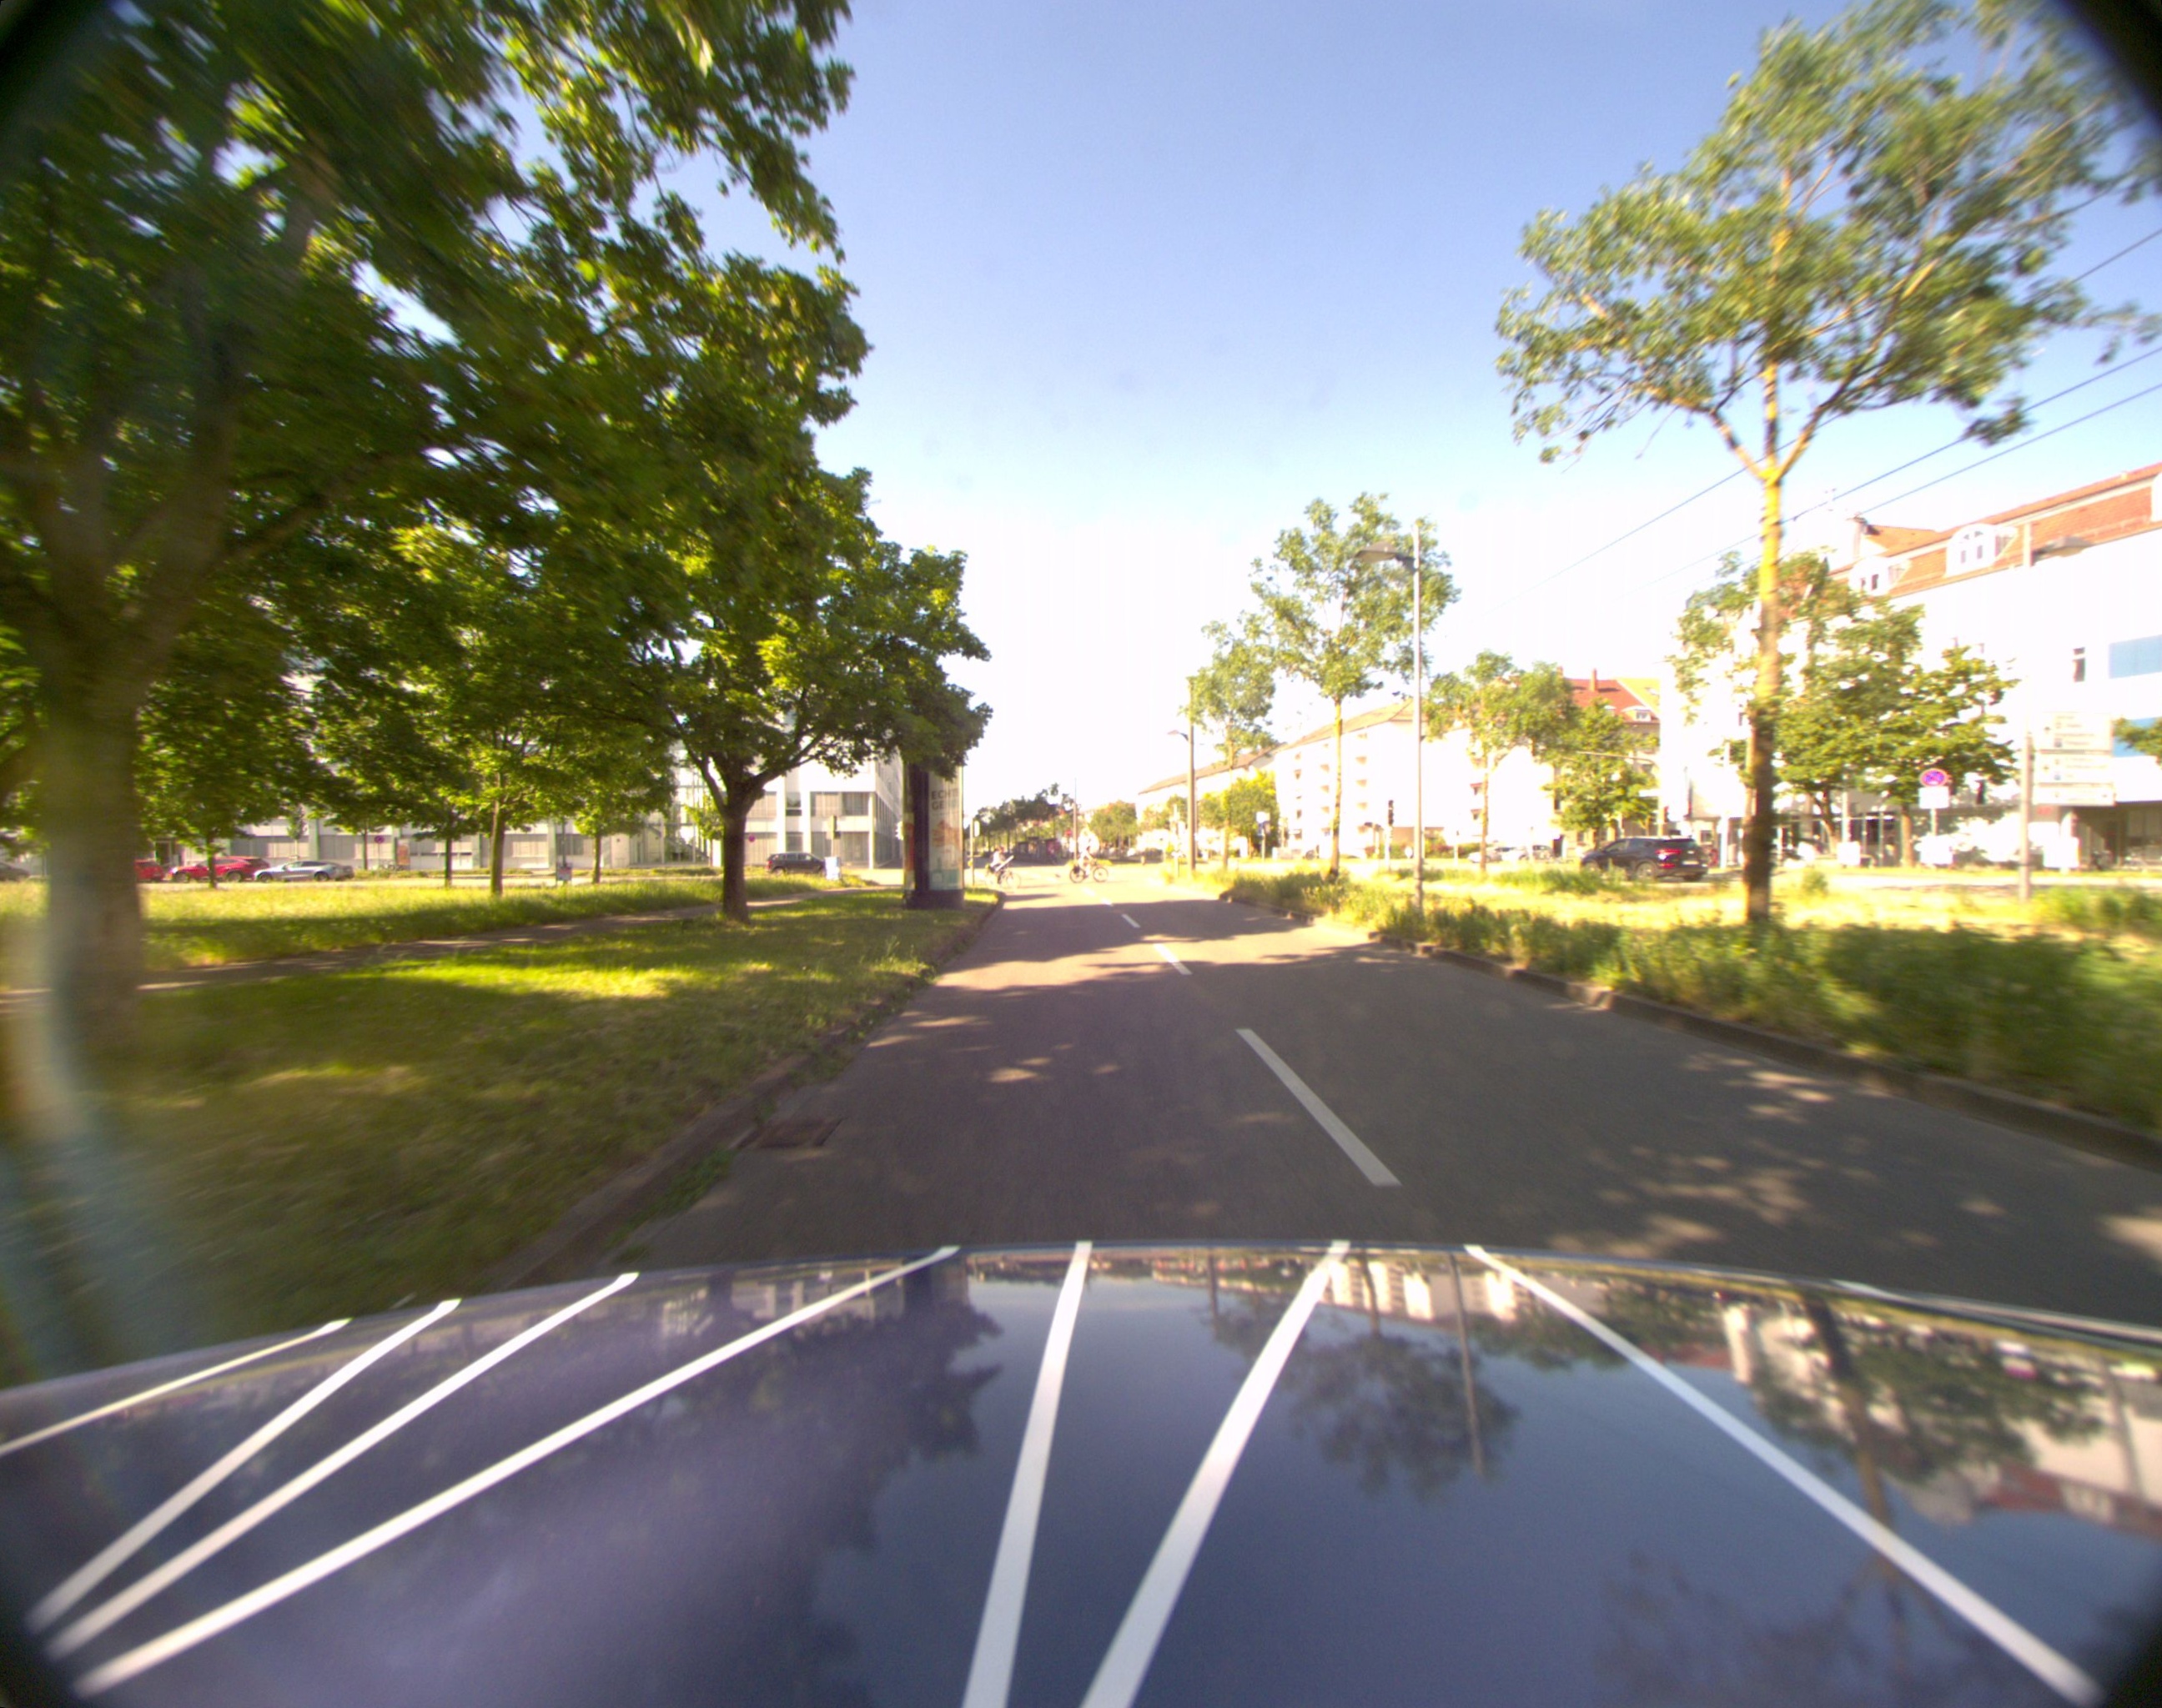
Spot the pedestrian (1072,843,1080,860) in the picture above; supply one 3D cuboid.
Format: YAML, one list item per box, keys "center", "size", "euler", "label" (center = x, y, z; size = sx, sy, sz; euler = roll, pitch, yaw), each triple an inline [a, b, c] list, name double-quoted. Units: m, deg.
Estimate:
- center: [-0.485, -0.212, 76.831]
  size: [0.732, 1.687, 0.735]
  euler: [-1, 1, -5]
  label: "pedestrian"

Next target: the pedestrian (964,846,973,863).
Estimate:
- center: [-11.089, 0.037, 74.857]
  size: [0.882, 1.687, 0.735]
  euler: [-1, 1, -5]
  label: "pedestrian"

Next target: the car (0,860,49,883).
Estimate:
- center: [-68.358, 1.130, 47.635]
  size: [1.920, 1.412, 4.282]
  euler: [-1, 1, -12]
  label: "car"

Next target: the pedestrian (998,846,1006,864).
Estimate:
- center: [-7.570, 0.113, 73.030]
  size: [0.732, 1.687, 0.735]
  euler: [-1, 1, -5]
  label: "pedestrian"

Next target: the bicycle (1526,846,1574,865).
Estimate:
- center: [29.135, 0.067, 47.220]
  size: [2.580, 1.152, 0.783]
  euler: [-1, 1, -7]
  label: "bicycle"

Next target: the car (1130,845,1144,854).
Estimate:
- center: [10.555, -0.878, 143.536]
  size: [1.694, 1.700, 4.237]
  euler: [-1, 1, -11]
  label: "car"

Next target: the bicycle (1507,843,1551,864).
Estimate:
- center: [29.000, -0.028, 49.212]
  size: [2.580, 1.302, 0.662]
  euler: [-1, 1, -7]
  label: "bicycle"

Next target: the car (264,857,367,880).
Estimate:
- center: [-49.467, 0.918, 49.215]
  size: [4.289, 1.412, 1.917]
  euler: [-1, 1, -14]
  label: "car"

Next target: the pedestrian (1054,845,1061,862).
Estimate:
- center: [-2.298, -0.027, 73.840]
  size: [0.641, 1.687, 0.607]
  euler: [-1, 1, -9]
  label: "pedestrian"

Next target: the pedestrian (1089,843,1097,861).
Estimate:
- center: [1.168, -0.225, 72.628]
  size: [0.723, 1.687, 0.608]
  euler: [-1, 1, -5]
  label: "pedestrian"

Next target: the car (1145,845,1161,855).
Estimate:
- center: [12.634, -0.779, 133.288]
  size: [1.694, 1.700, 4.237]
  euler: [-1, 1, -11]
  label: "car"

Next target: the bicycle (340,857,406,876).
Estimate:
- center: [-52.154, 0.896, 55.999]
  size: [3.536, 1.340, 0.989]
  euler: [-1, 1, -11]
  label: "bicycle"

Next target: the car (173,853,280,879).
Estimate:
- center: [-55.949, 0.788, 49.829]
  size: [4.289, 1.585, 1.917]
  euler: [-1, 1, -14]
  label: "car"

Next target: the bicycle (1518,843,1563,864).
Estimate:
- center: [29.109, -0.018, 48.126]
  size: [2.580, 1.302, 0.662]
  euler: [-1, 1, -7]
  label: "bicycle"

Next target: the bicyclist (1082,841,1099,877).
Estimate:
- center: [0.441, 0.217, 35.920]
  size: [0.715, 1.682, 0.816]
  euler: [-1, 1, -4]
  label: "bicyclist"

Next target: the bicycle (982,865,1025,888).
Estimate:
- center: [-3.362, 0.960, 33.240]
  size: [1.828, 0.958, 0.855]
  euler: [-1, 1, -4]
  label: "bicycle"

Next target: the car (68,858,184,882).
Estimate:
- center: [-61.007, 1.003, 48.624]
  size: [4.289, 1.412, 1.917]
  euler: [-1, 1, -14]
  label: "car"

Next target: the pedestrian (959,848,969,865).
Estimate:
- center: [-11.677, 0.274, 75.869]
  size: [0.732, 1.687, 0.736]
  euler: [-1, 1, 11]
  label: "pedestrian"

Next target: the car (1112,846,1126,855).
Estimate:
- center: [7.941, -0.724, 158.585]
  size: [1.834, 1.700, 4.237]
  euler: [-1, 1, -11]
  label: "car"

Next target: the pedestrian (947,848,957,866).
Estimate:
- center: [-12.239, 0.245, 71.988]
  size: [0.732, 1.687, 0.736]
  euler: [-1, 1, 11]
  label: "pedestrian"

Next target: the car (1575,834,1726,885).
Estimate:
- center: [20.183, 0.161, 27.234]
  size: [1.824, 1.631, 4.486]
  euler: [-2, 1, -4]
  label: "car"

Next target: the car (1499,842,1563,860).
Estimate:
- center: [38.170, -0.279, 64.477]
  size: [4.190, 1.457, 2.332]
  euler: [-1, 1, -12]
  label: "car"

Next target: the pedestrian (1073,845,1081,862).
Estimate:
- center: [-0.414, -0.061, 75.734]
  size: [0.732, 1.687, 0.735]
  euler: [-1, 1, -5]
  label: "pedestrian"

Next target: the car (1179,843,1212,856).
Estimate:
- center: [15.928, -0.639, 105.509]
  size: [4.231, 1.700, 1.696]
  euler: [-1, 1, 20]
  label: "car"

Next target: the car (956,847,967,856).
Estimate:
- center: [-22.097, -0.496, 140.272]
  size: [1.694, 1.700, 4.237]
  euler: [-1, 1, -11]
  label: "car"

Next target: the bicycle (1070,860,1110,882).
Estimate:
- center: [0.433, 0.799, 35.926]
  size: [1.828, 0.958, 0.816]
  euler: [-1, 1, -4]
  label: "bicycle"

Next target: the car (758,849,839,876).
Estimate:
- center: [-18.467, 0.551, 49.827]
  size: [4.632, 1.613, 1.998]
  euler: [-1, 2, -9]
  label: "car"

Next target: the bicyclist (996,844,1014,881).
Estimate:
- center: [-3.328, 0.377, 33.244]
  size: [0.715, 1.591, 0.849]
  euler: [-1, 1, -4]
  label: "bicyclist"

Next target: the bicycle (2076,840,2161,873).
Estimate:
- center: [40.072, 0.091, 28.997]
  size: [0.719, 1.206, 2.551]
  euler: [-1, 1, -5]
  label: "bicycle"
